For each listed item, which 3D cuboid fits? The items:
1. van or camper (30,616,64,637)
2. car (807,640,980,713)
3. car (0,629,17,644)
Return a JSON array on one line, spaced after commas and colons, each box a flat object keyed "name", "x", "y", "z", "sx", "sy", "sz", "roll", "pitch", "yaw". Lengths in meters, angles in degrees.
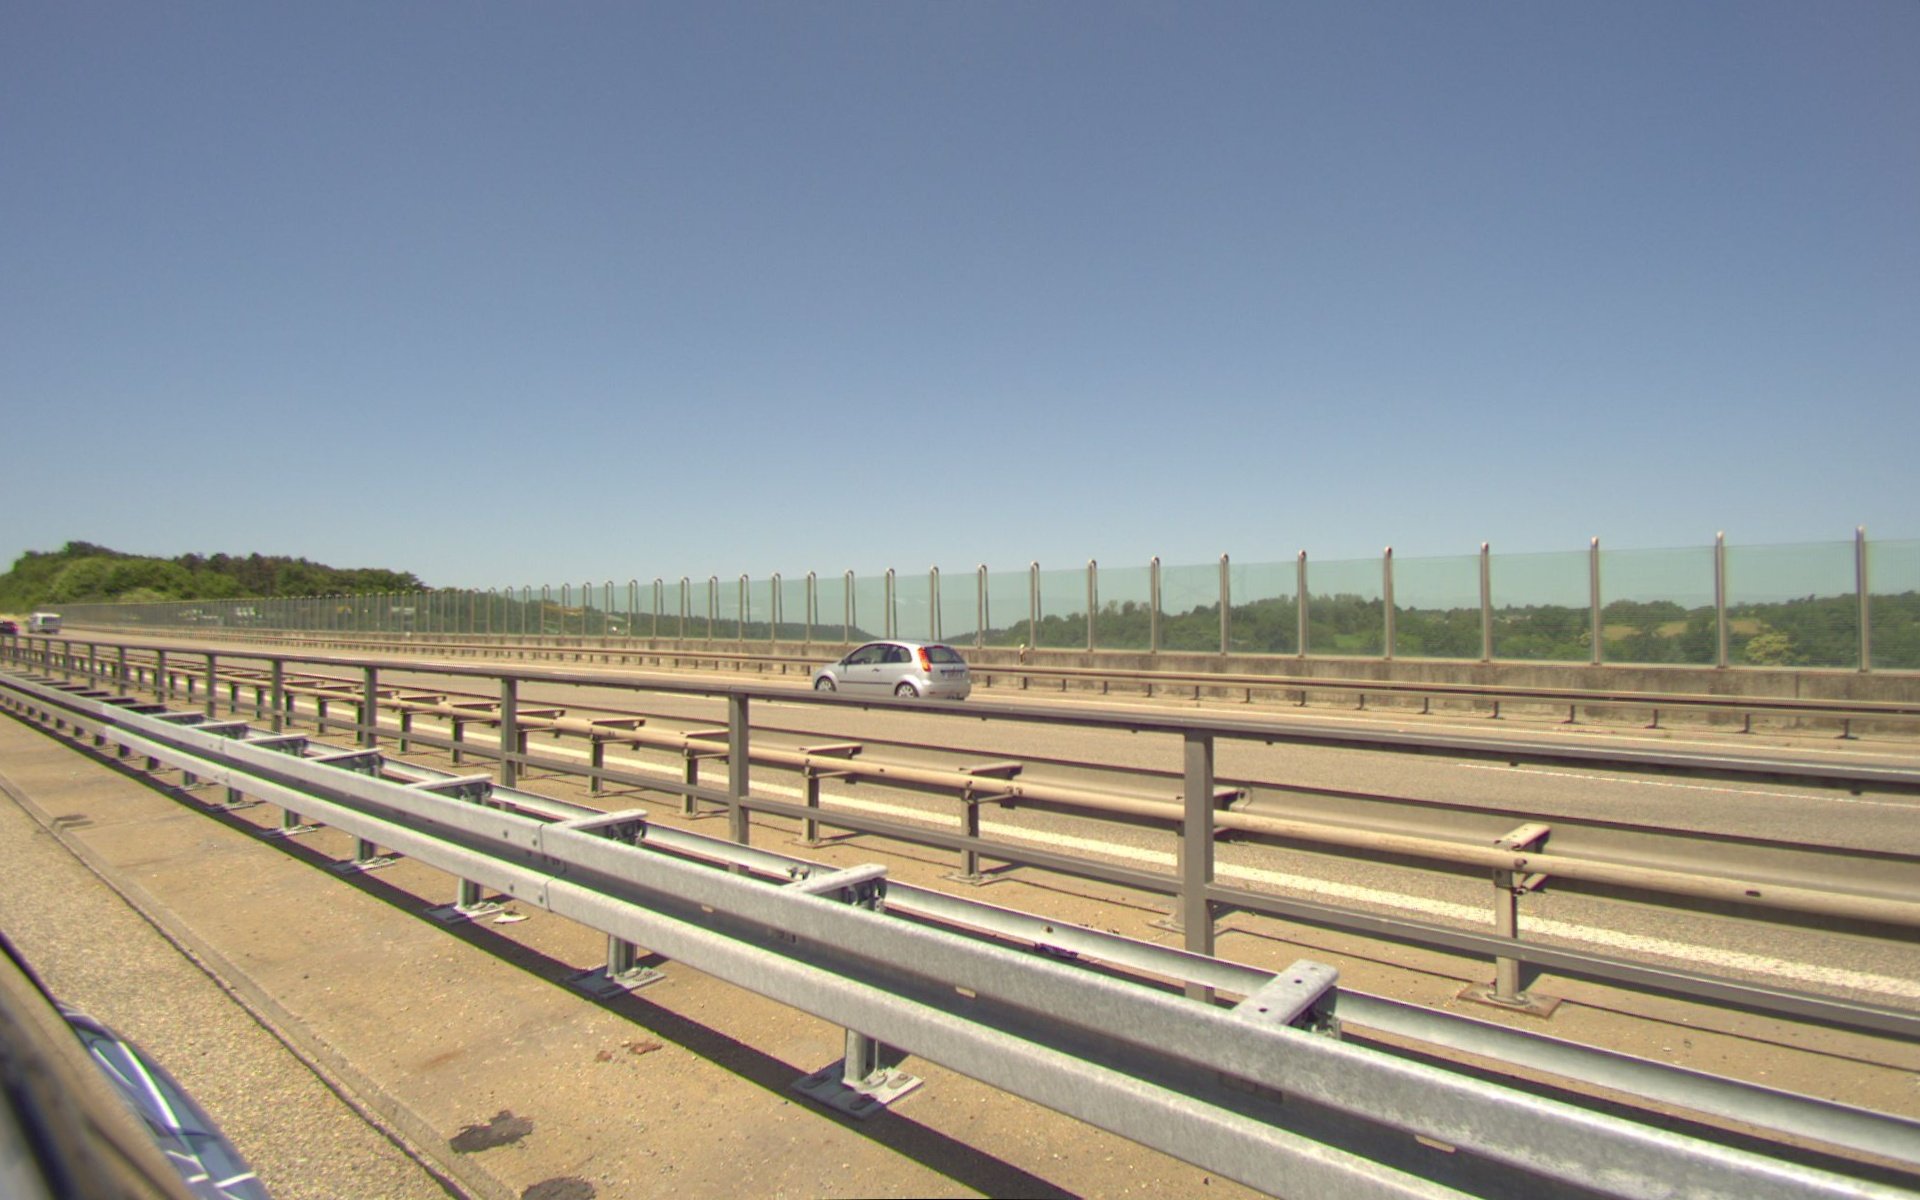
[{"name": "van or camper", "x": -99.434, "y": 2.858, "z": 110.158, "sx": 5.533, "sy": 2.228, "sz": 1.973, "roll": -1, "pitch": -3, "yaw": 41}, {"name": "car", "x": -1.489, "y": 1.590, "z": 21.905, "sx": 3.674, "sy": 1.405, "sz": 1.588, "roll": -1, "pitch": -3, "yaw": 41}, {"name": "car", "x": -95.826, "y": 3.628, "z": 101.242, "sx": 4.261, "sy": 1.396, "sz": 1.782, "roll": -1, "pitch": -2, "yaw": 41}]
